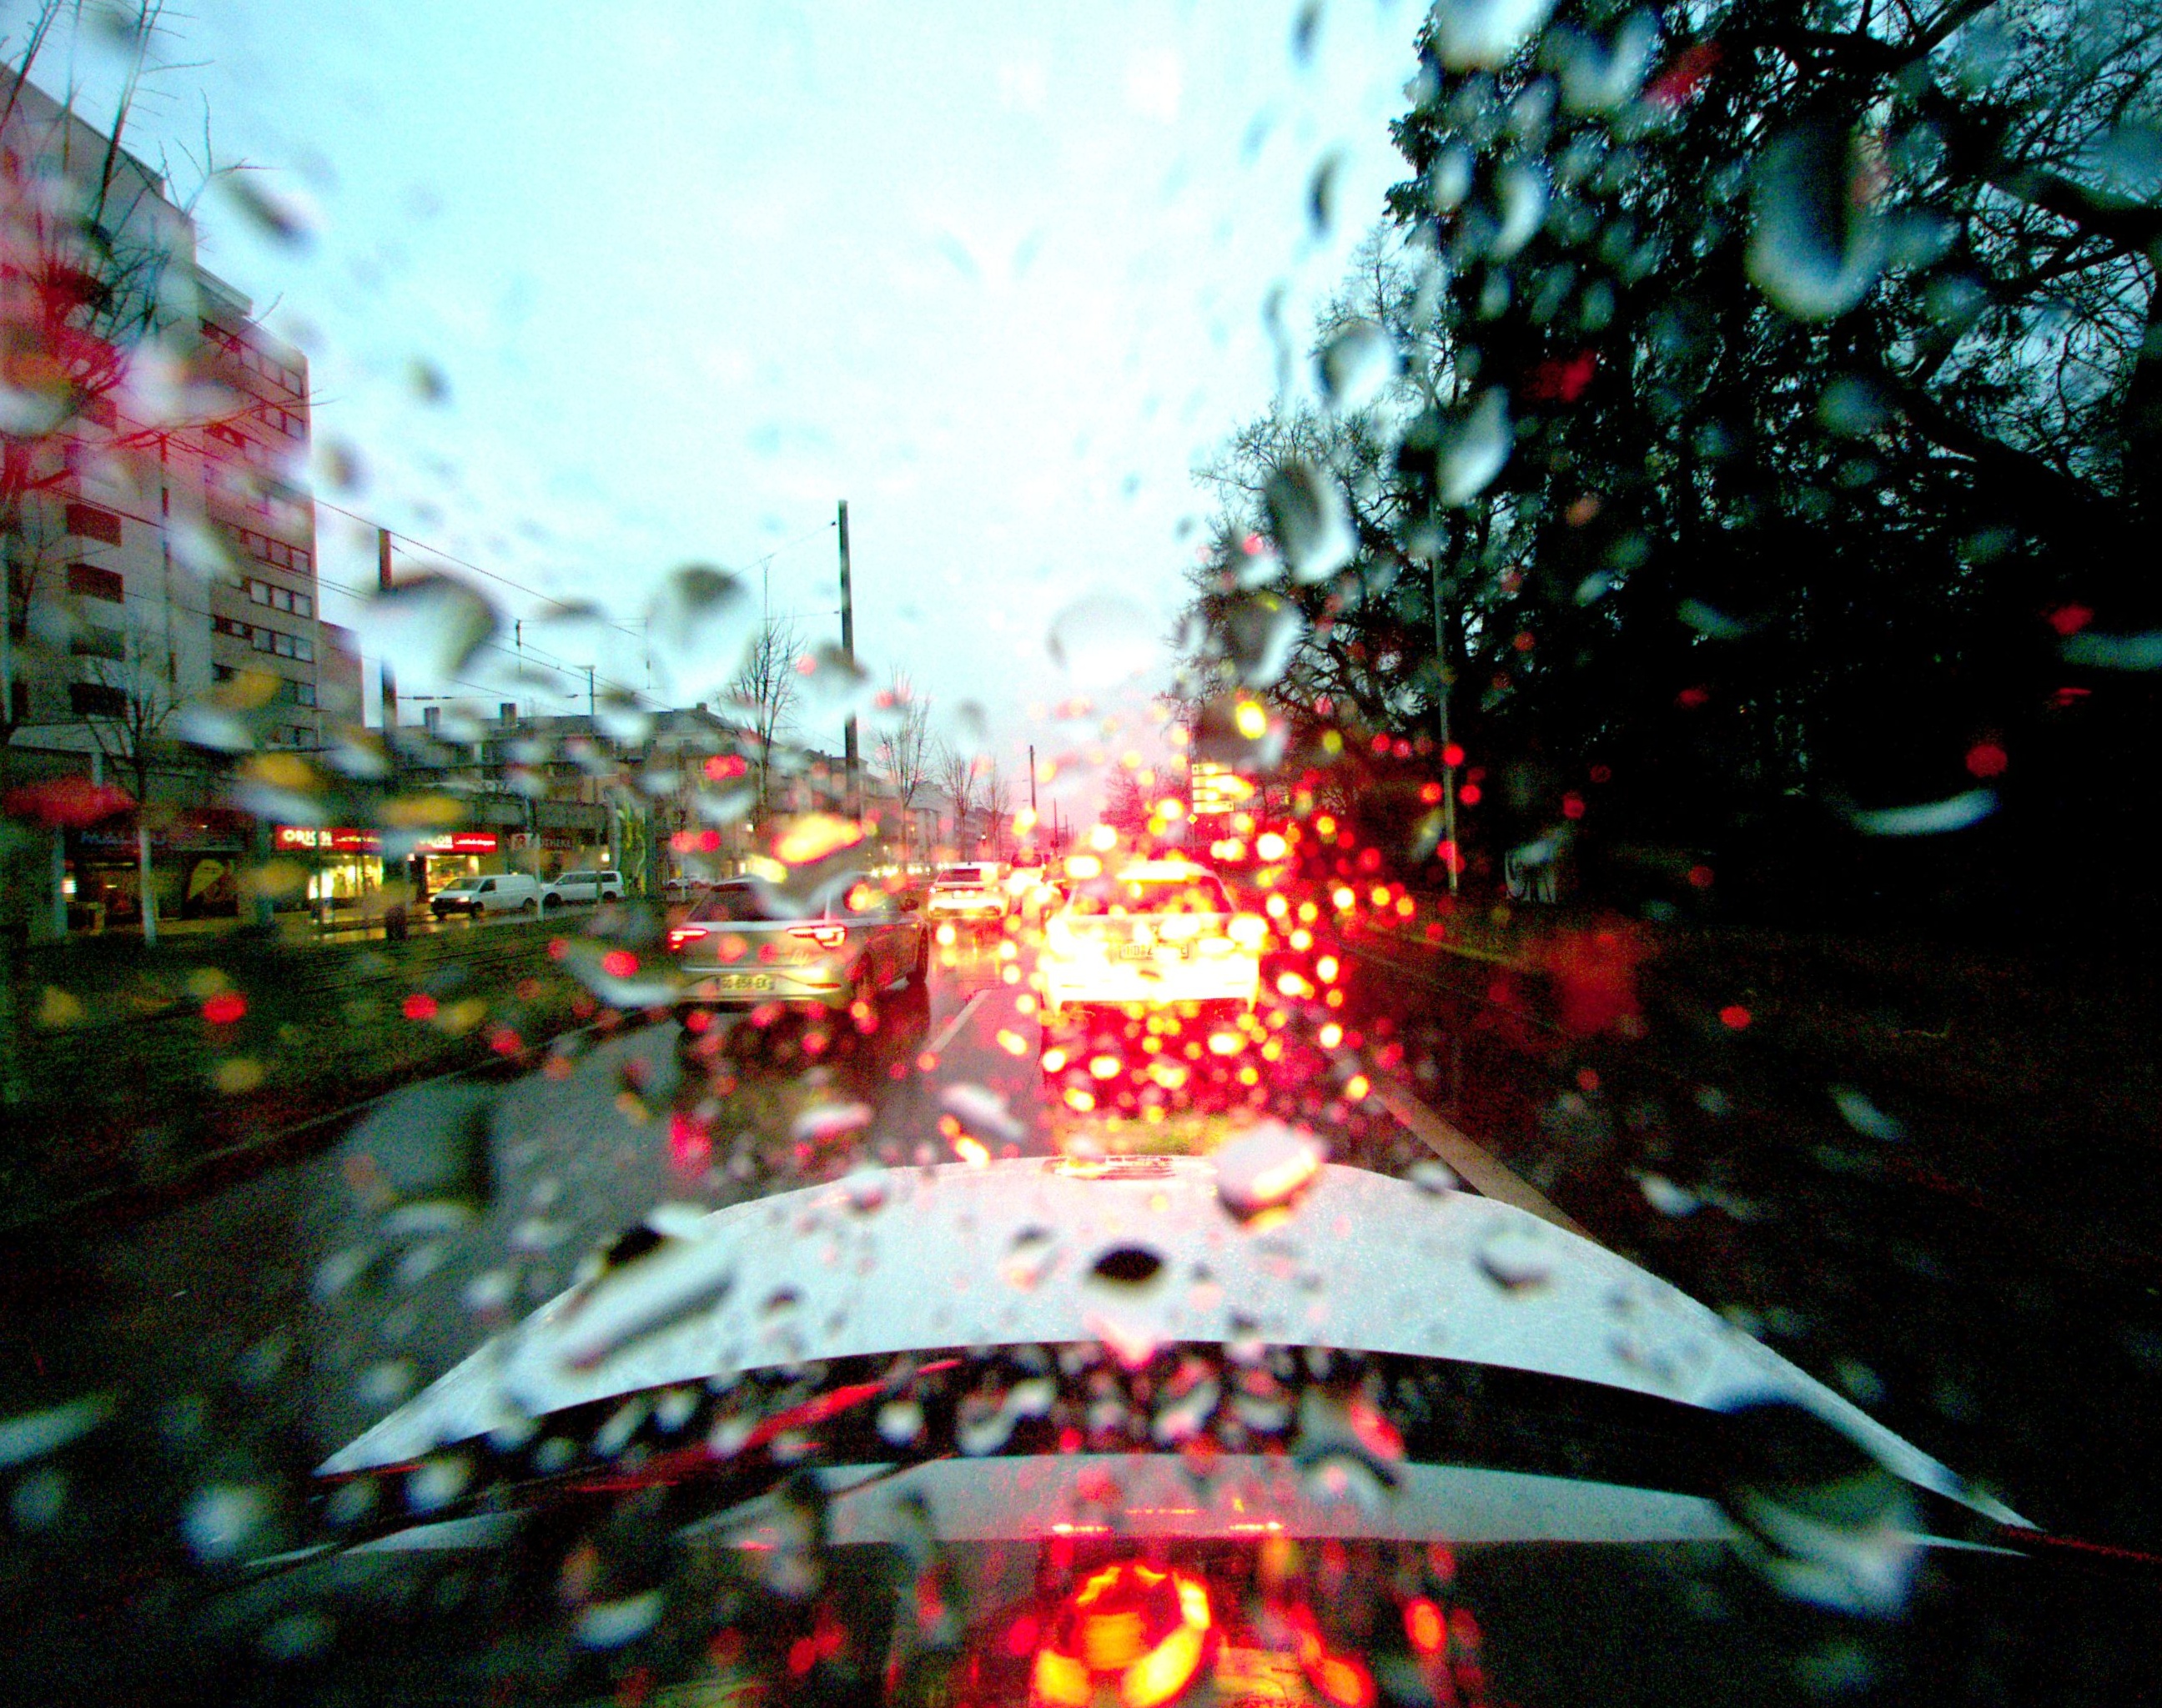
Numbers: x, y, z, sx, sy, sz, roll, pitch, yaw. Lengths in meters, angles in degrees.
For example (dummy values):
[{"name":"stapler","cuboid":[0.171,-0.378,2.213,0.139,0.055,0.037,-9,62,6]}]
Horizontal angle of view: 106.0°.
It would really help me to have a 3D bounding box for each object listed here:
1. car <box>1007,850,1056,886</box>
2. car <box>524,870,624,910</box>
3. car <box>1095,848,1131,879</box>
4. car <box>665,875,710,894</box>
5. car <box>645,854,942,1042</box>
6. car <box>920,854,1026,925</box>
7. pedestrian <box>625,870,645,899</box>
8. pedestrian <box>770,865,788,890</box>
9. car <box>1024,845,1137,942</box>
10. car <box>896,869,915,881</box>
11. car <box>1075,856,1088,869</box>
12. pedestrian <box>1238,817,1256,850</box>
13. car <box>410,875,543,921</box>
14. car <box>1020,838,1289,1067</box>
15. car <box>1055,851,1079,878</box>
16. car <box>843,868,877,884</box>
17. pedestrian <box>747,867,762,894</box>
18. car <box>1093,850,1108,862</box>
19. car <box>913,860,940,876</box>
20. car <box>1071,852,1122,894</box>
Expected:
[{"name":"car","cuboid":[-2.133,0.589,36.202,1.731,1.419,4.395,-3,0,2]},{"name":"car","cuboid":[-30.709,2.101,49.423,4.859,2.244,1.975,0,-1,-44]},{"name":"car","cuboid":[1.635,0.469,41.788,1.731,1.419,3.704,-3,0,2]},{"name":"car","cuboid":[-40.680,3.148,84.306,3.744,1.942,1.838,0,-1,-7]},{"name":"car","cuboid":[-2.735,0.778,8.769,1.687,1.533,4.001,-1,0,1]},{"name":"car","cuboid":[-2.492,0.770,19.903,1.792,1.466,4.587,-3,0,2]},{"name":"pedestrian","cuboid":[-31.918,2.190,58.268,1.075,2.013,0.997,-2,0,-33]},{"name":"pedestrian","cuboid":[-24.514,1.911,66.201,1.274,2.013,1.000,-2,0,-23]},{"name":"car","cuboid":[0.048,0.652,15.257,1.793,1.511,3.897,-2,0,2]},{"name":"car","cuboid":[-20.794,2.424,96.675,1.688,1.277,4.141,-2,0,-4]},{"name":"car","cuboid":[0.072,0.876,87.048,1.359,1.316,2.715,0,-1,-1]},{"name":"pedestrian","cuboid":[10.476,-1.305,51.389,0.954,2.013,1.009,-2,0,4]},{"name":"car","cuboid":[-29.710,2.095,40.319,1.983,2.046,5.575,0,-1,6]},{"name":"car","cuboid":[0.602,0.701,8.283,1.855,1.556,4.940,-3,0,2]},{"name":"car","cuboid":[-0.888,0.666,51.966,1.501,1.653,2.843,0,-1,-2]},{"name":"car","cuboid":[-20.528,2.032,75.759,1.852,1.332,4.316,0,-1,2]},{"name":"pedestrian","cuboid":[-25.565,2.068,63.821,0.961,2.013,1.001,-2,0,-18]},{"name":"car","cuboid":[2.491,0.276,102.116,1.731,1.419,4.147,-3,0,2]},{"name":"car","cuboid":[-16.136,1.481,85.125,1.987,1.602,4.000,0,-1,1]},{"name":"car","cuboid":[0.616,0.681,30.878,1.731,1.419,3.704,-3,0,2]}]
